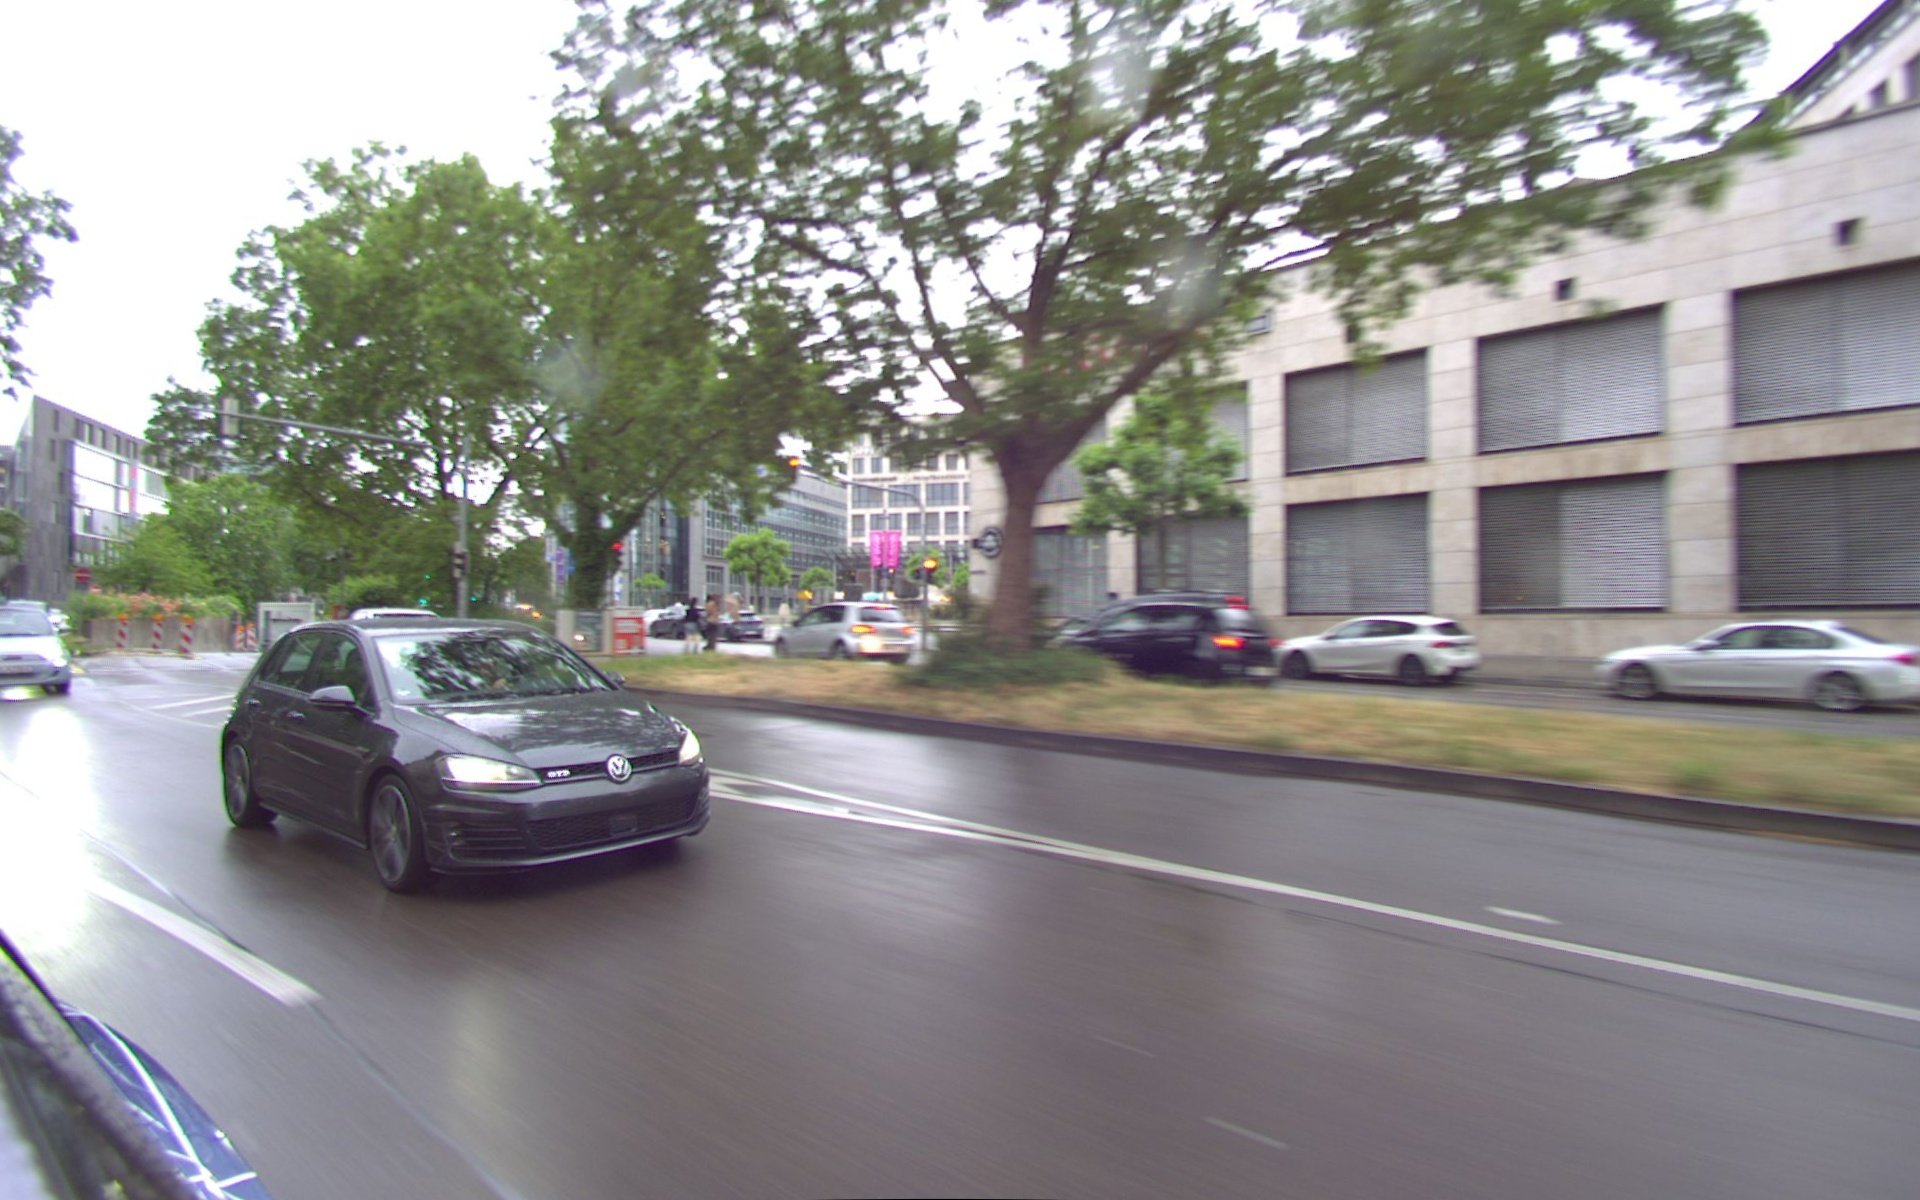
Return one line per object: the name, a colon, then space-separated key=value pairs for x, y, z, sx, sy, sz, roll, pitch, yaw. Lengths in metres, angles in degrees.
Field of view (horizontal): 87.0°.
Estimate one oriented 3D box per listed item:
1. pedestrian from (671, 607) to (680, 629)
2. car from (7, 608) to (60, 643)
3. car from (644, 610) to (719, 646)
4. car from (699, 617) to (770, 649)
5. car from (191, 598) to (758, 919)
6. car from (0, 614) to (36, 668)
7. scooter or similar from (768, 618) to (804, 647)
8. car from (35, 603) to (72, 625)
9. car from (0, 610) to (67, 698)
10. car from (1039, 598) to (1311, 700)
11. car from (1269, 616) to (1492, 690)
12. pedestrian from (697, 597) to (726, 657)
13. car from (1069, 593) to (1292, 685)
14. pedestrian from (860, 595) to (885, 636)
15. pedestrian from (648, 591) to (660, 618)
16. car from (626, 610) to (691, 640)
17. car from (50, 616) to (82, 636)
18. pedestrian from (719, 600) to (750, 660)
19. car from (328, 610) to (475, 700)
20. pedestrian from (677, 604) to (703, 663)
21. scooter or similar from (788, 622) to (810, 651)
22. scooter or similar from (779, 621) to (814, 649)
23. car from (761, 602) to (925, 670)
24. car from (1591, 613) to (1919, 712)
pedestrian: x=-21.675 y=1.375 z=77.177 sx=0.570 sy=1.639 sz=0.563 roll=0 pitch=-1 yaw=-6
car: x=-48.437 y=1.284 z=52.895 sx=1.970 sy=1.757 sz=3.913 roll=0 pitch=-1 yaw=-44
car: x=-14.322 y=1.396 z=51.894 sx=1.968 sy=1.664 sz=4.736 roll=1 pitch=0 yaw=-38
car: x=-10.739 y=1.517 z=47.963 sx=1.817 sy=1.392 sz=4.051 roll=1 pitch=0 yaw=-36
car: x=-3.342 y=0.737 z=6.614 sx=4.118 sy=1.463 sz=1.767 roll=-1 pitch=0 yaw=39
car: x=-27.104 y=1.120 z=28.297 sx=1.691 sy=1.452 sz=3.499 roll=2 pitch=-2 yaw=-40
scooter or similar: x=-7.600 y=1.400 z=44.276 sx=1.406 sy=1.195 sz=0.583 roll=-2 pitch=0 yaw=-33
car: x=-74.397 y=1.166 z=83.087 sx=1.968 sy=1.757 sz=3.917 roll=0 pitch=-1 yaw=-38
car: x=-17.462 y=0.934 z=18.251 sx=3.492 sy=1.452 sz=1.591 roll=-1 pitch=0 yaw=41
car: x=3.244 y=0.676 z=15.856 sx=1.725 sy=1.375 sz=3.950 roll=1 pitch=0 yaw=-40
car: x=9.266 y=1.097 z=22.580 sx=1.725 sy=1.426 sz=4.301 roll=1 pitch=0 yaw=-40
pedestrian: x=-6.884 y=0.745 z=28.070 sx=0.636 sy=1.626 sz=0.446 roll=-1 pitch=-1 yaw=15
car: x=4.354 y=0.707 z=20.417 sx=1.809 sy=1.652 sz=4.095 roll=1 pitch=0 yaw=-43
pedestrian: x=-4.158 y=0.726 z=48.161 sx=1.126 sy=1.939 sz=0.581 roll=-1 pitch=0 yaw=45
pedestrian: x=-20.482 y=0.285 z=67.795 sx=0.737 sy=1.803 sz=0.424 roll=-1 pitch=0 yaw=-13
car: x=-16.878 y=1.379 z=56.529 sx=1.980 sy=1.545 sz=4.446 roll=1 pitch=0 yaw=-37
car: x=-80.198 y=2.290 z=90.838 sx=1.968 sy=1.757 sz=3.917 roll=0 pitch=-1 yaw=-38
pedestrian: x=-6.219 y=0.814 z=27.933 sx=0.636 sy=1.626 sz=0.607 roll=-1 pitch=-1 yaw=14
car: x=-11.485 y=1.030 z=20.691 sx=1.755 sy=1.608 sz=4.005 roll=1 pitch=0 yaw=-42
pedestrian: x=-7.519 y=0.918 z=28.224 sx=0.552 sy=1.626 sz=0.421 roll=-1 pitch=-1 yaw=29
scooter or similar: x=-6.896 y=1.552 z=43.348 sx=0.438 sy=1.134 sz=1.608 roll=-1 pitch=0 yaw=10
scooter or similar: x=-7.337 y=1.559 z=45.440 sx=1.405 sy=1.195 sz=0.583 roll=-1 pitch=0 yaw=-23
car: x=-2.747 y=0.756 z=23.078 sx=1.725 sy=1.375 sz=4.138 roll=1 pitch=0 yaw=-40
car: x=13.789 y=0.973 z=17.378 sx=1.725 sy=1.426 sz=4.712 roll=1 pitch=0 yaw=-41
